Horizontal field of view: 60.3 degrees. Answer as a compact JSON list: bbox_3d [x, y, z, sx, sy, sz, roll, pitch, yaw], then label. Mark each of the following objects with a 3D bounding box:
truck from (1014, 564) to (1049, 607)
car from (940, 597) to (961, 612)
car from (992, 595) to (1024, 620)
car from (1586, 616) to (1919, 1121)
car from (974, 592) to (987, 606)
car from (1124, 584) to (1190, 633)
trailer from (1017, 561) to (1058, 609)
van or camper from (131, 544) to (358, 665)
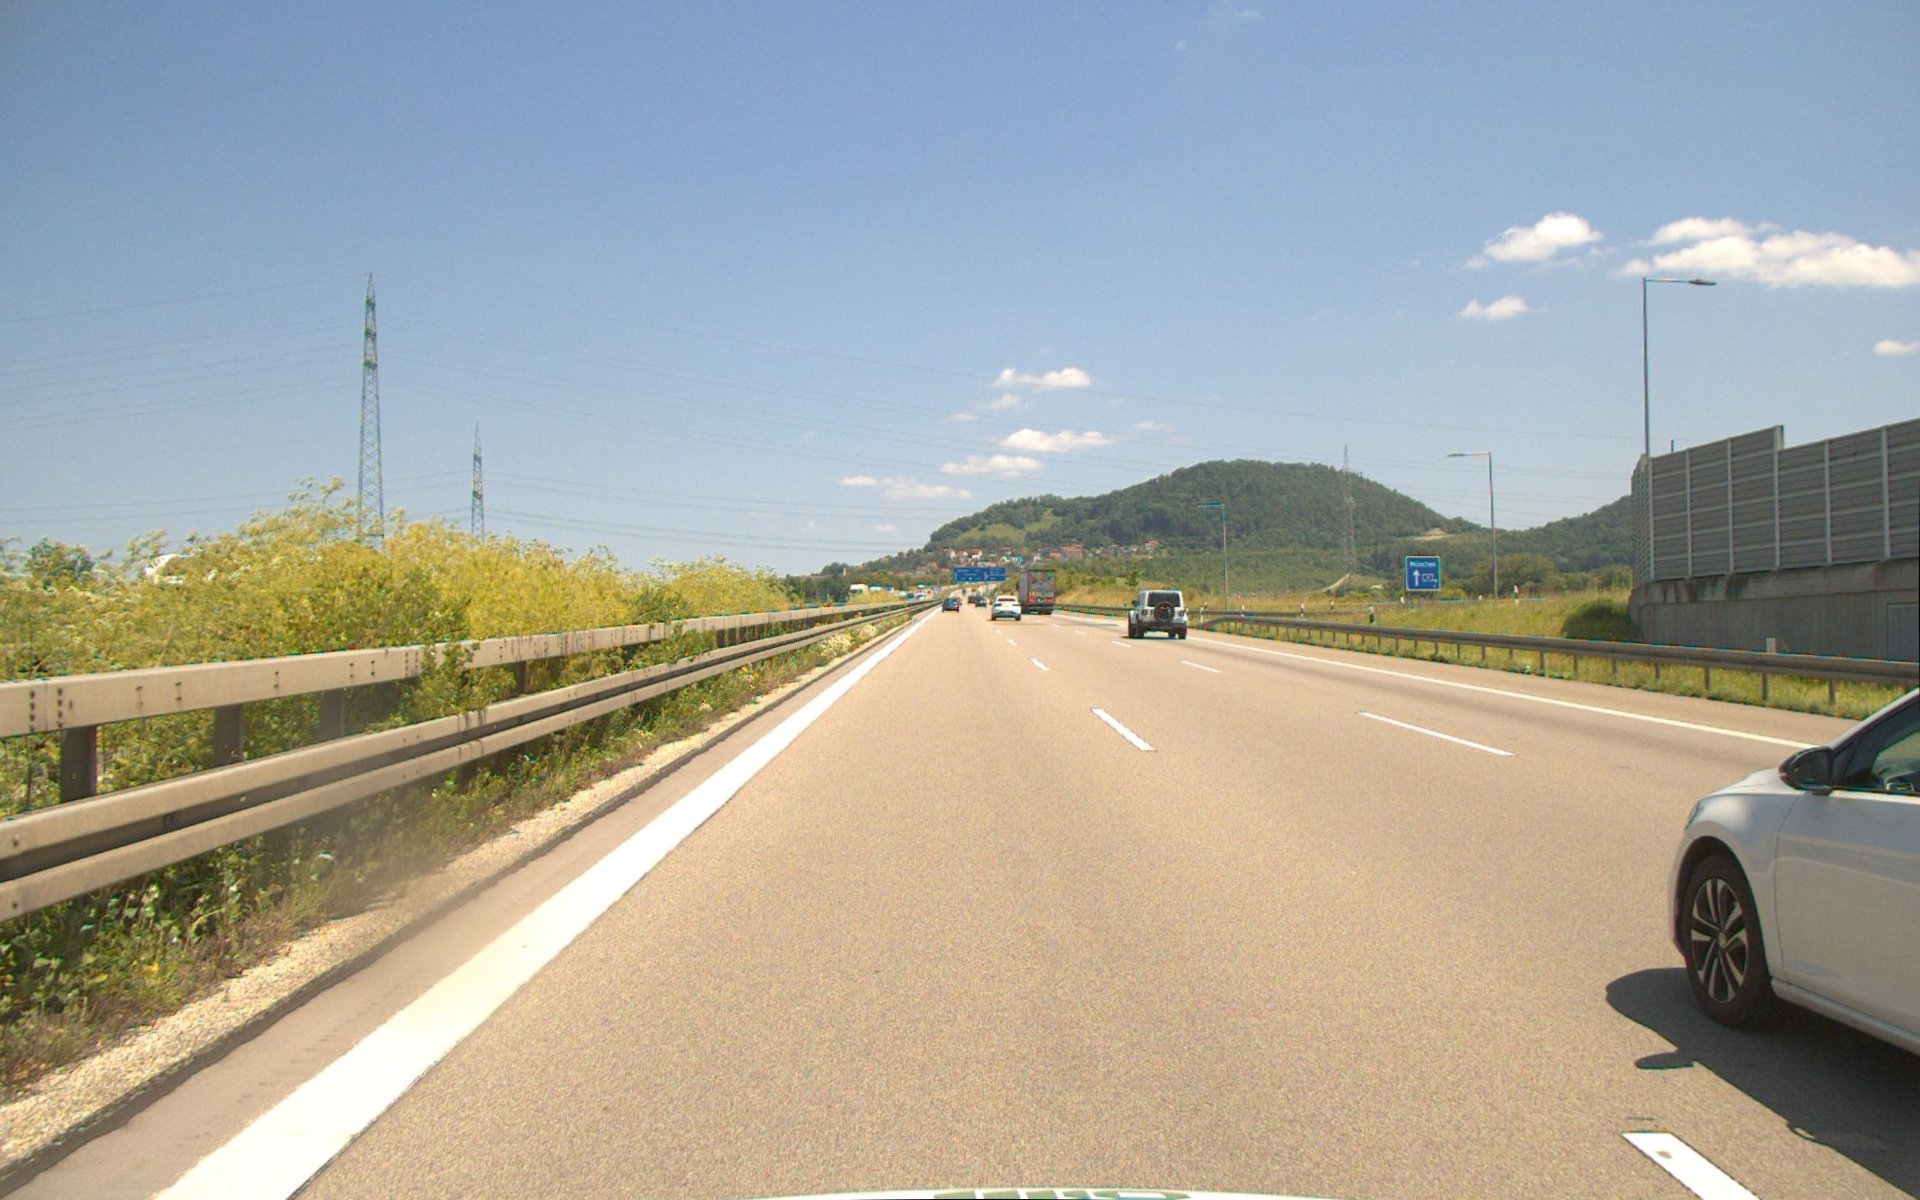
[{"bbox_3d":[6.954,-1.352,161.569,2.697,4.091,6.785,1,0,-2],"label":"truck"},{"bbox_3d":[-0.903,0.404,162.214,1.952,1.413,4.000,1,0,0],"label":"car"},{"bbox_3d":[3.123,0.505,108.440,1.875,1.608,5.230,1,0,-1],"label":"car"},{"bbox_3d":[3.673,0.803,4.961,1.740,1.458,4.690,1,0,-1],"label":"car"},{"bbox_3d":[3.065,-0.195,247.532,1.952,2.049,4.000,1,0,0],"label":"car"},{"bbox_3d":[7.678,0.330,64.680,1.993,1.836,4.249,0,0,-1],"label":"car"},{"bbox_3d":[7.228,-1.333,155.607,2.671,4.227,11.801,1,0,-3],"label":"trailer"},{"bbox_3d":[-16.492,0.048,38.680,2.484,2.580,6.708,0,1,-1],"label":"van or camper"}]
